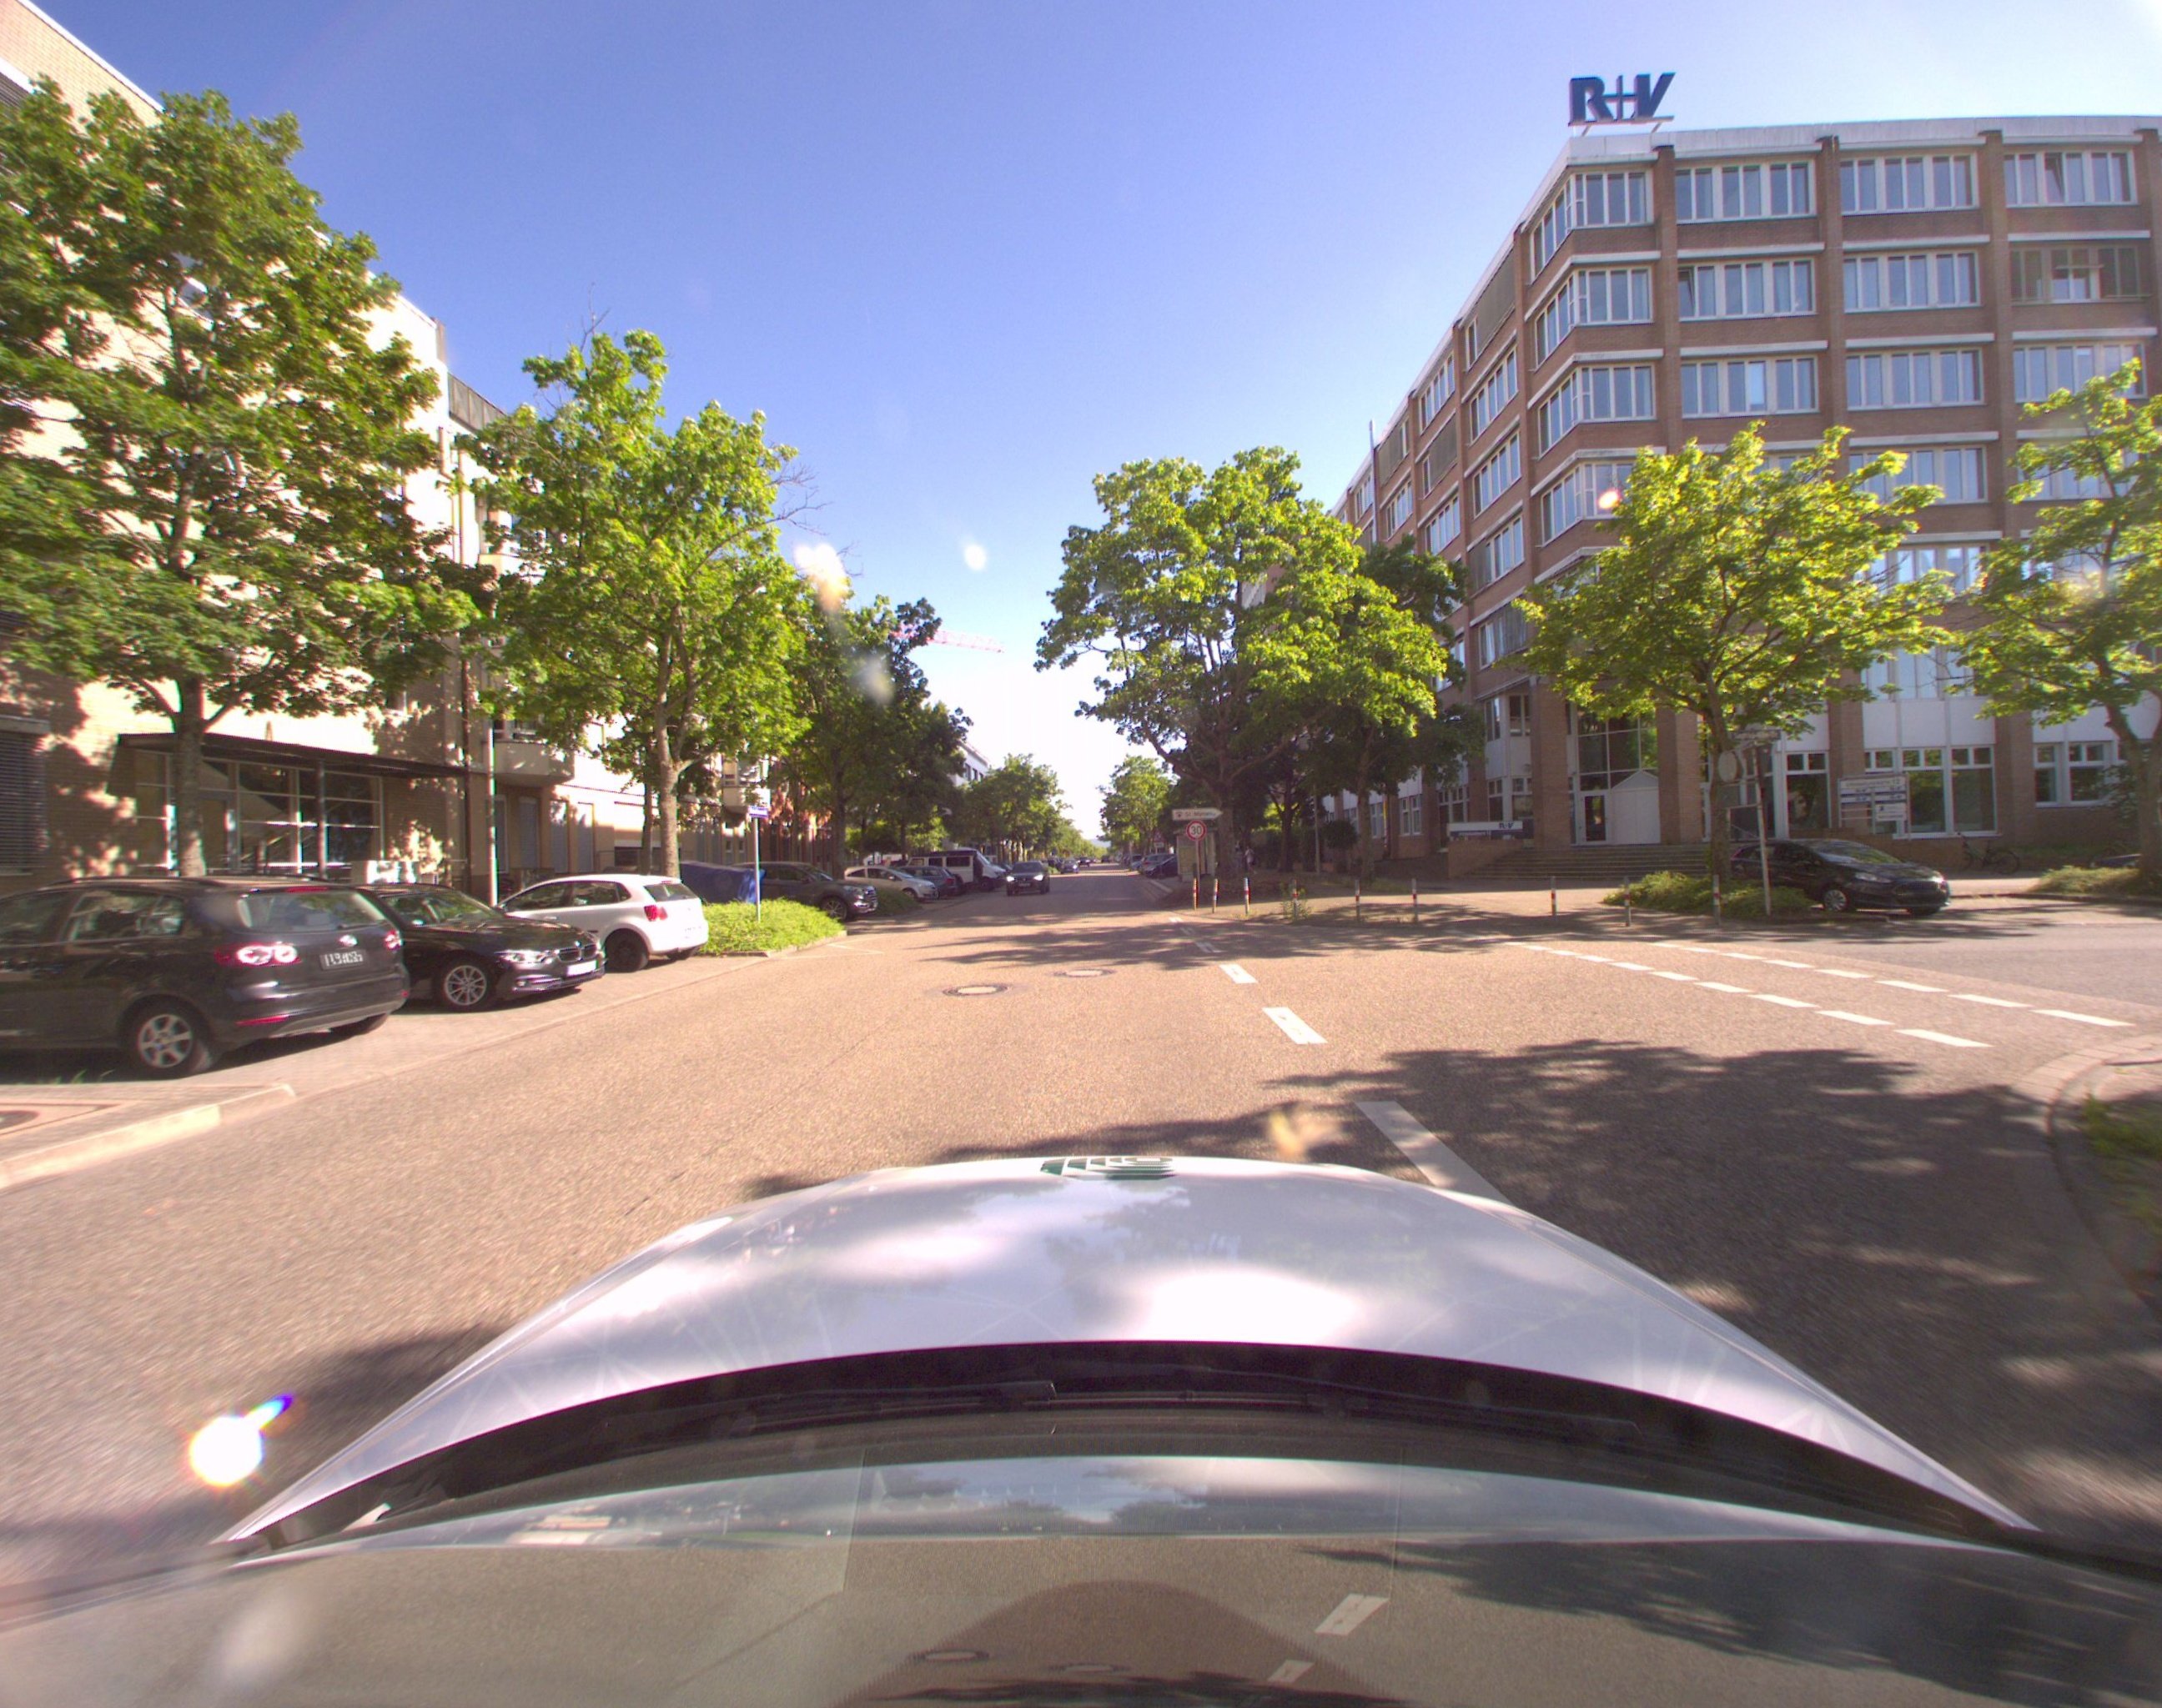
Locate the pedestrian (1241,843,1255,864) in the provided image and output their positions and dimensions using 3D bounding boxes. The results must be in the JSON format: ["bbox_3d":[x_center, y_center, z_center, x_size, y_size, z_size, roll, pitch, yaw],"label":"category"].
[{"bbox_3d":[14.090,-0.064,68.808,0.696,1.711,0.918,-5,0,-9],"label":"pedestrian"}]

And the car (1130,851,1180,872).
[{"bbox_3d":[6.788,0.677,75.383,4.390,1.618,1.912,-5,0,0],"label":"car"}]

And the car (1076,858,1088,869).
[{"bbox_3d":[0.101,1.552,131.617,1.886,1.684,4.352,-2,0,0],"label":"car"}]

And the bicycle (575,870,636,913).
[{"bbox_3d":[-16.293,1.278,27.942,1.731,1.409,0.610,0,-1,-22],"label":"bicycle"}]

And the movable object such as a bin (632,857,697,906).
[{"bbox_3d":[-16.310,1.047,31.935,1.592,1.796,1.666,-2,0,3],"label":"movable object such as a bin"}]

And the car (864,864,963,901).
[{"bbox_3d":[-7.077,1.191,34.666,3.763,1.492,1.834,-1,0,3],"label":"car"}]

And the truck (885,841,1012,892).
[{"bbox_3d":[-6.901,0.663,42.870,6.208,2.422,2.188,-2,-1,2],"label":"truck"}]

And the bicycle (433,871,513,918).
[{"bbox_3d":[-16.523,1.100,22.160,1.692,1.229,0.450,0,-1,-12],"label":"bicycle"}]

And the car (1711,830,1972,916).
[{"bbox_3d":[14.964,0.324,16.358,1.646,1.462,3.919,-2,0,2],"label":"car"}]

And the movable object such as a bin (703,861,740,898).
[{"bbox_3d":[-16.260,1.142,36.882,1.145,1.620,1.437,-2,0,-11],"label":"movable object such as a bin"}]

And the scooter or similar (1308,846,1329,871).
[{"bbox_3d":[13.228,0.252,45.439,0.547,1.325,1.803,0,-1,-3],"label":"scooter or similar"}]

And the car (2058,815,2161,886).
[{"bbox_3d":[23.014,-0.109,16.414,1.681,1.461,4.278,-2,0,5],"label":"car"}]

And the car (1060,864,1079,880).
[{"bbox_3d":[-1.079,1.675,78.533,1.637,1.420,4.001,-2,0,2],"label":"car"}]

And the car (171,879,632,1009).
[{"bbox_3d":[-8.087,1.034,9.992,4.137,1.402,1.801,0,0,1],"label":"car"}]

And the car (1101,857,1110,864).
[{"bbox_3d":[5.518,1.457,185.114,1.926,1.597,4.367,-2,0,1],"label":"car"}]

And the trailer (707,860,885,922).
[{"bbox_3d":[-7.734,0.987,22.412,4.249,1.572,1.855,-1,0,-2],"label":"trailer"}]

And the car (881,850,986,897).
[{"bbox_3d":[-6.746,0.885,37.572,4.468,2.052,1.999,-1,-1,-1],"label":"car"}]

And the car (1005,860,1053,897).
[{"bbox_3d":[-2.359,1.081,37.537,1.773,1.511,4.002,-2,0,2],"label":"car"}]

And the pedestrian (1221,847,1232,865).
[{"bbox_3d":[12.039,0.199,67.570,0.698,1.458,0.715,-3,0,-1],"label":"pedestrian"}]

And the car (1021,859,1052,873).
[{"bbox_3d":[-5.256,1.421,96.749,3.570,1.549,1.636,-2,-3,-1],"label":"car"}]

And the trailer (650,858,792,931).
[{"bbox_3d":[-8.816,0.960,20.101,2.715,1.687,1.713,-1,0,2],"label":"trailer"}]

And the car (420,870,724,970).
[{"bbox_3d":[-7.980,1.004,13.016,3.739,1.452,1.755,0,0,2],"label":"car"}]

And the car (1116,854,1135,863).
[{"bbox_3d":[9.622,0.934,177.035,3.979,1.792,1.997,-2,0,-4],"label":"car"}]

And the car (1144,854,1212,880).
[{"bbox_3d":[5.861,0.771,49.621,3.922,1.439,1.774,-2,-1,-1],"label":"car"}]

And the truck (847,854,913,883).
[{"bbox_3d":[-20.704,1.489,84.182,6.085,2.704,2.577,-2,0,-1],"label":"truck"}]

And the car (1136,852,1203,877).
[{"bbox_3d":[6.151,0.730,56.861,4.344,1.597,1.936,-2,-1,-5],"label":"car"}]

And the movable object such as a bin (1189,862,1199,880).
[{"bbox_3d":[4.848,0.724,34.968,0.297,0.753,0.467,-4,-1,2],"label":"movable object such as a bin"}]

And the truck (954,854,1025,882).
[{"bbox_3d":[-6.928,1.061,62.099,4.963,1.959,2.140,-2,-1,3],"label":"truck"}]

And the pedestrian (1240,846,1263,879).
[{"bbox_3d":[9.306,0.472,44.524,0.918,1.711,0.695,-5,0,-12],"label":"pedestrian"}]

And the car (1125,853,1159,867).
[{"bbox_3d":[7.908,0.781,105.483,4.255,1.633,1.857,-3,0,-1],"label":"car"}]

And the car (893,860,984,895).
[{"bbox_3d":[-6.905,1.134,39.834,4.094,1.662,2.000,-1,-1,0],"label":"car"}]

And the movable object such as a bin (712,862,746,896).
[{"bbox_3d":[-16.476,1.157,38.177,1.145,1.563,1.240,-2,0,-11],"label":"movable object such as a bin"}]

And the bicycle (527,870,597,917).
[{"bbox_3d":[-16.107,1.198,25.325,1.731,1.409,0.610,0,-1,-22],"label":"bicycle"}]

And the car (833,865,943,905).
[{"bbox_3d":[-7.534,1.195,31.945,3.816,1.461,1.735,-1,0,5],"label":"car"}]

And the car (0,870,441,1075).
[{"bbox_3d":[-8.430,0.952,7.309,3.973,1.570,1.728,0,0,1],"label":"car"}]

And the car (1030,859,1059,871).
[{"bbox_3d":[-4.942,1.507,110.320,3.720,1.464,1.677,-2,0,0],"label":"car"}]
